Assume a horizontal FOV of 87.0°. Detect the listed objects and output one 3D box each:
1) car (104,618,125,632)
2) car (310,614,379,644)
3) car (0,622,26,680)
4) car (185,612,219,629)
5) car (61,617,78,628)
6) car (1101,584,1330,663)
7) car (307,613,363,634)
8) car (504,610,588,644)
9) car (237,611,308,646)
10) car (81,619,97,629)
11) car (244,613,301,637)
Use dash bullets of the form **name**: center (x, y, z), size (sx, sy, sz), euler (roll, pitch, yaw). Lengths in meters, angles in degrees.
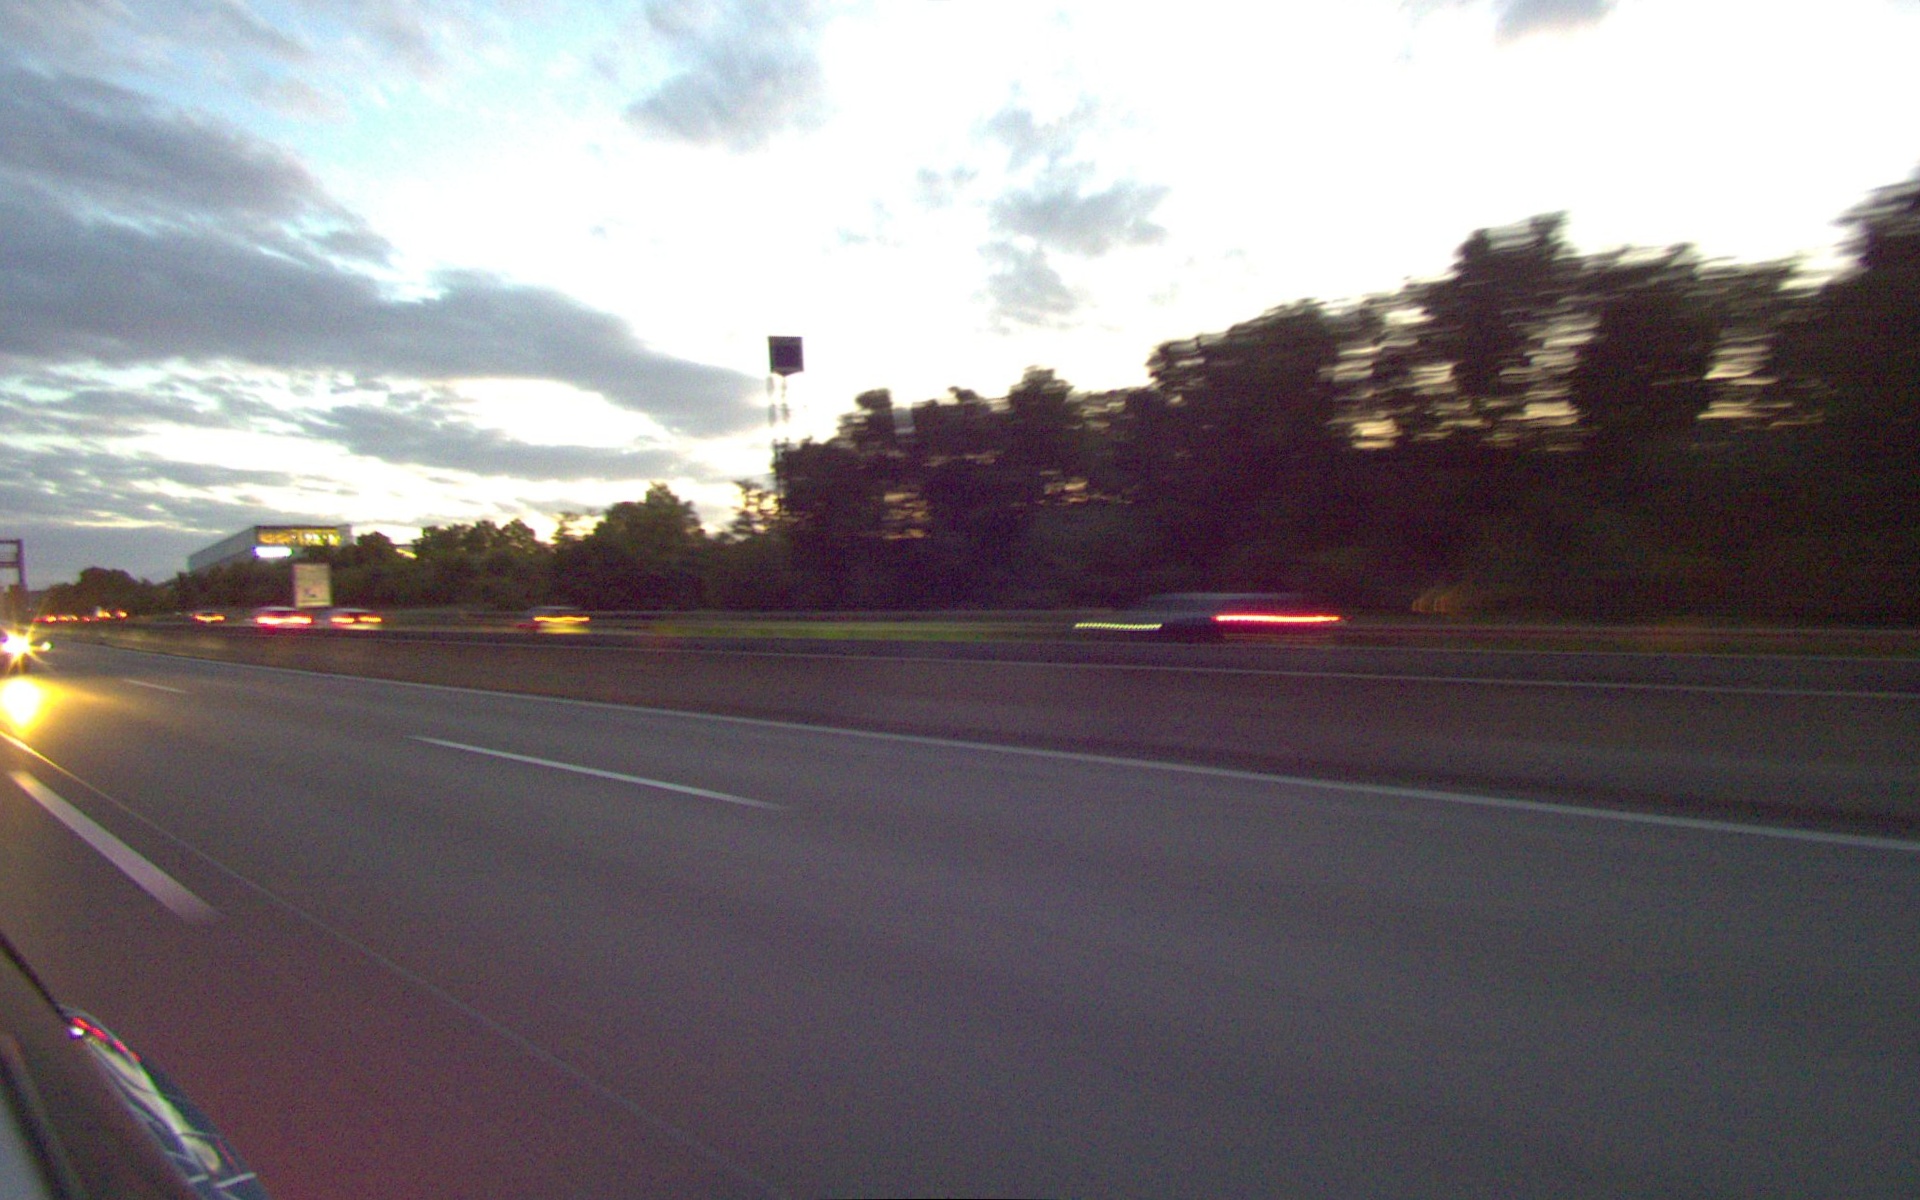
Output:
- **car**: center (-121.917, 3.575, 145.902), size (4.583, 1.823, 1.768), euler (-1, 0, 44)
- **car**: center (-33.680, 1.560, 55.341), size (4.557, 1.516, 1.972), euler (-1, 0, 42)
- **car**: center (-26.747, 1.366, 27.512), size (4.000, 1.491, 1.694), euler (-1, 0, 43)
- **car**: center (-73.330, 1.963, 97.933), size (4.580, 1.555, 1.769), euler (-1, 0, 42)
- **car**: center (-173.777, 4.426, 197.452), size (3.999, 2.029, 1.972), euler (-1, 0, 42)
- **car**: center (6.032, 0.515, 24.292), size (4.968, 1.706, 1.973), euler (-1, 0, 41)
- **car**: center (-43.744, 1.626, 70.764), size (5.022, 1.412, 1.972), euler (-1, 0, 42)
- **car**: center (-19.297, 1.237, 47.056), size (4.235, 1.471, 1.972), euler (-1, 0, 42)
- **car**: center (-36.598, 1.476, 53.857), size (5.049, 1.748, 1.972), euler (-1, 0, 42)
- **car**: center (-150.203, 4.172, 174.480), size (4.583, 1.649, 1.768), euler (-1, 0, 44)
- **car**: center (-45.672, 1.624, 67.176), size (5.022, 1.484, 1.972), euler (-1, 0, 42)
